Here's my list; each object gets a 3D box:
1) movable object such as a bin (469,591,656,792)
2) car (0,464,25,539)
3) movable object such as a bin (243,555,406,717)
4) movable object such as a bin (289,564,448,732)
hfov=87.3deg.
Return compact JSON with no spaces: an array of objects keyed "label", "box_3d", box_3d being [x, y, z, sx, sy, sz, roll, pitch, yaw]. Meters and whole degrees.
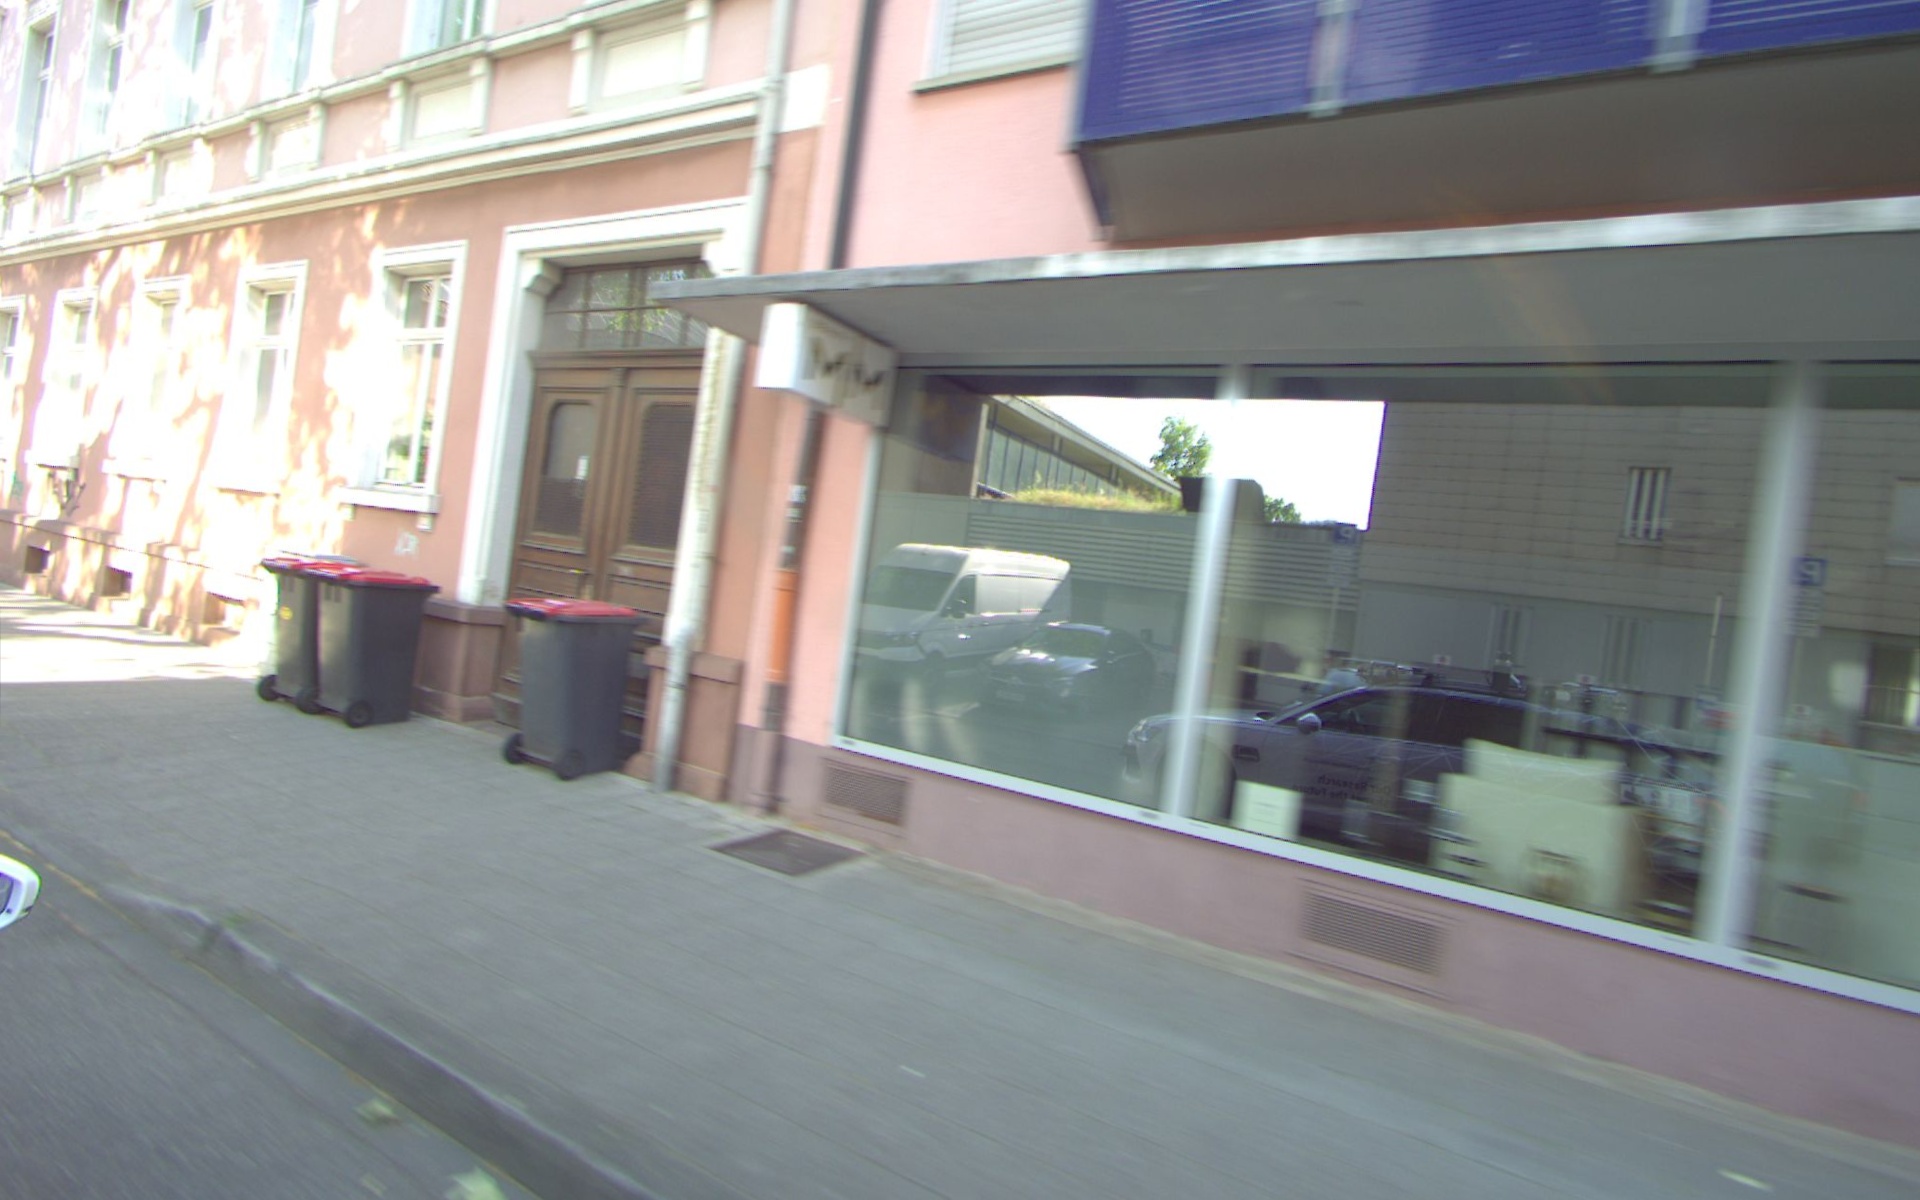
[{"label":"movable object such as a bin","box_3d":[-2.493,0.559,6.349,0.681,1.117,0.731,7,0,30]},{"label":"car","box_3d":[-28.223,-2.983,26.478,4.861,1.950,1.983,9,-3,-34]},{"label":"movable object such as a bin","box_3d":[-4.736,0.274,7.510,0.624,1.099,0.746,7,0,33]},{"label":"movable object such as a bin","box_3d":[-4.213,0.343,7.181,0.587,1.086,0.702,7,0,33]}]
